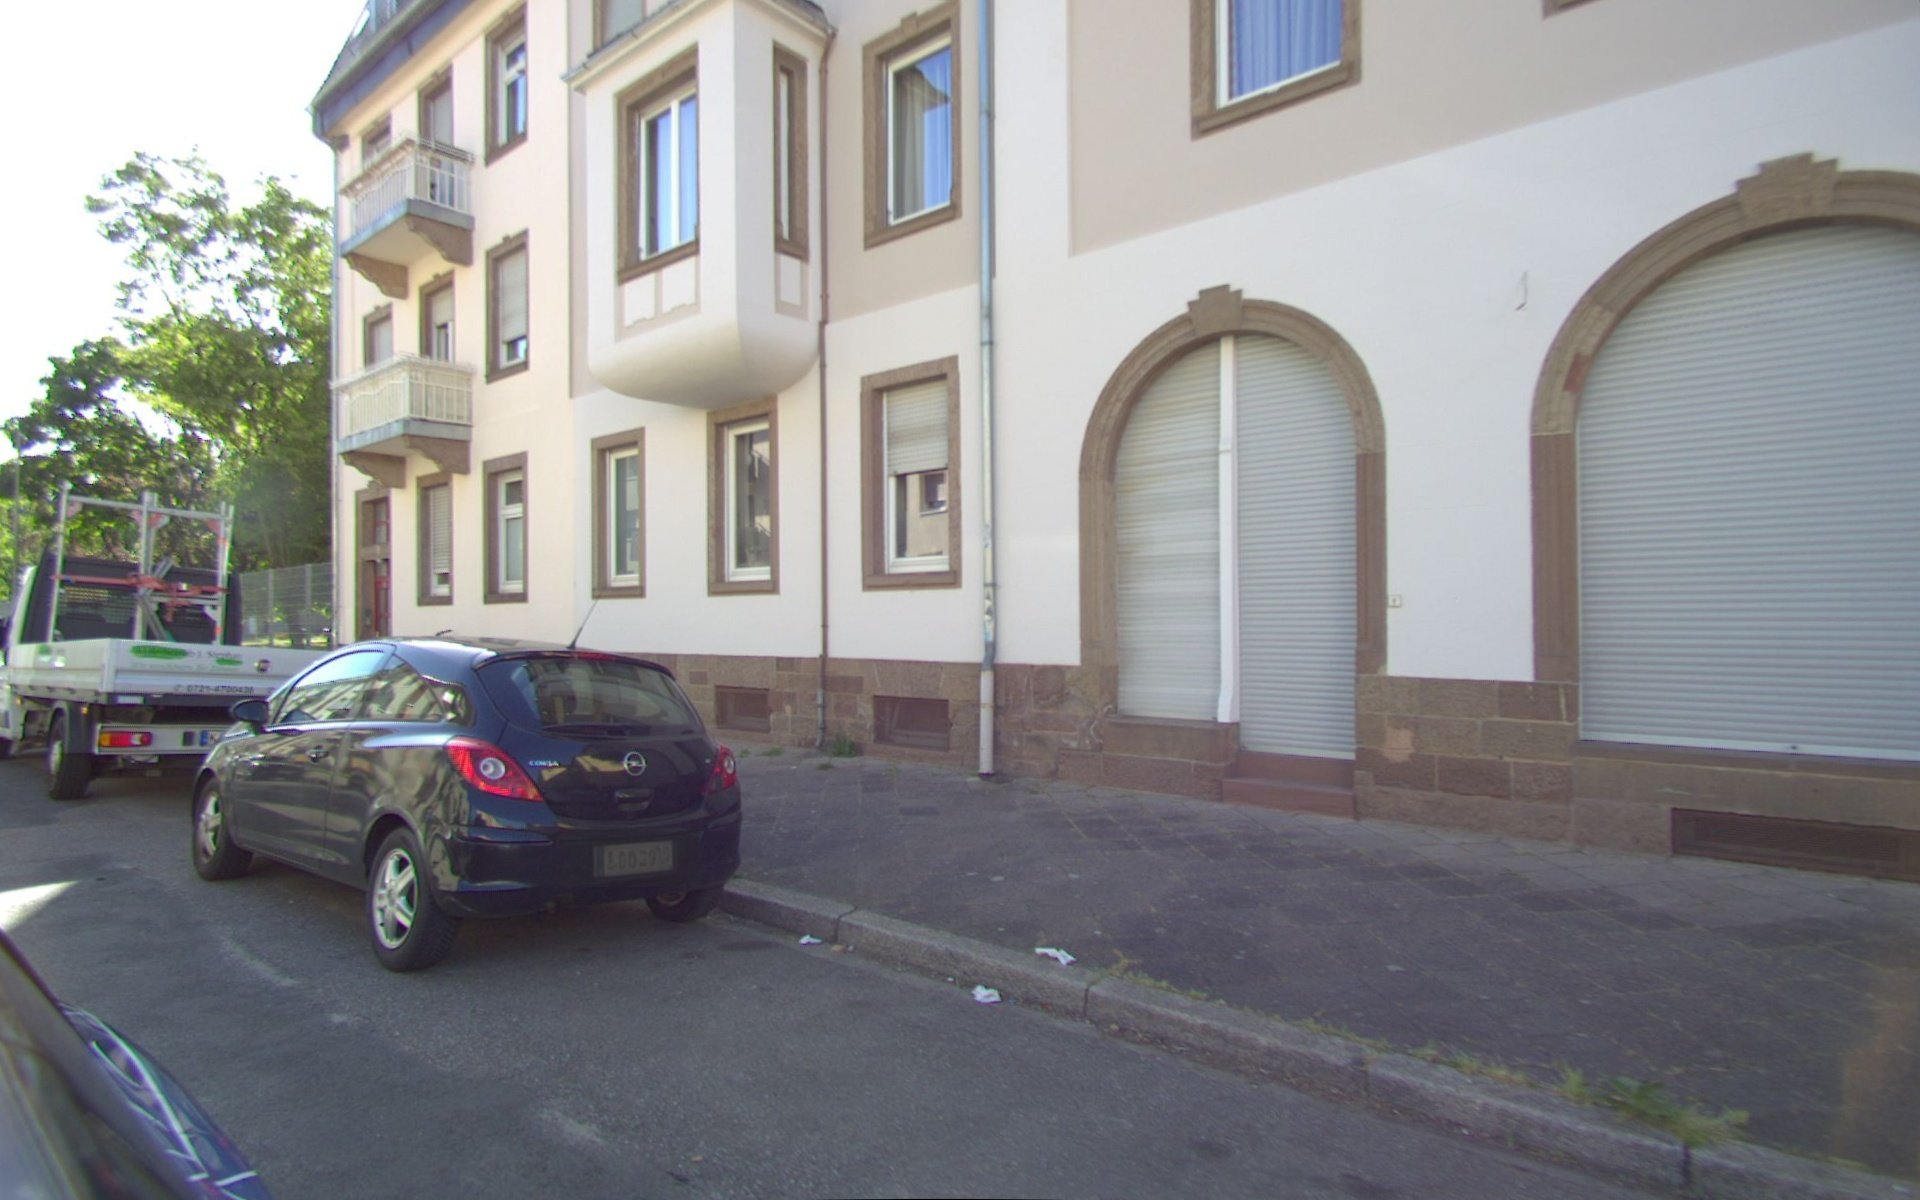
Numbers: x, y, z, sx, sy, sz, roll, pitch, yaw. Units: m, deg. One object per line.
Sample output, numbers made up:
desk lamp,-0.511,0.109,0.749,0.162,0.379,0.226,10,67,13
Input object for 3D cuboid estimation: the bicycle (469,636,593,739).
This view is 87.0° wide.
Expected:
bicycle,-5.833,1.140,13.671,2.339,1.289,0.563,-2,-3,41

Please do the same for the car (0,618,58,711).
car,-18.196,1.139,18.684,4.457,1.574,1.773,-1,-1,41

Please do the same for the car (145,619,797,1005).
car,-2.957,0.890,5.744,4.075,1.427,1.629,-1,-6,38

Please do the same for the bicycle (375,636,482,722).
bicycle,-8.148,1.173,15.459,2.339,1.213,0.623,-2,-3,41

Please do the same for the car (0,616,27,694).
car,-22.931,1.207,23.013,4.927,1.676,1.859,-1,-4,40

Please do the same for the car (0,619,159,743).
car,-13.586,1.168,14.809,4.635,1.553,1.775,-2,-8,38

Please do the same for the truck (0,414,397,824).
truck,-8.631,0.193,10.610,7.268,3.009,2.236,-1,-2,39
